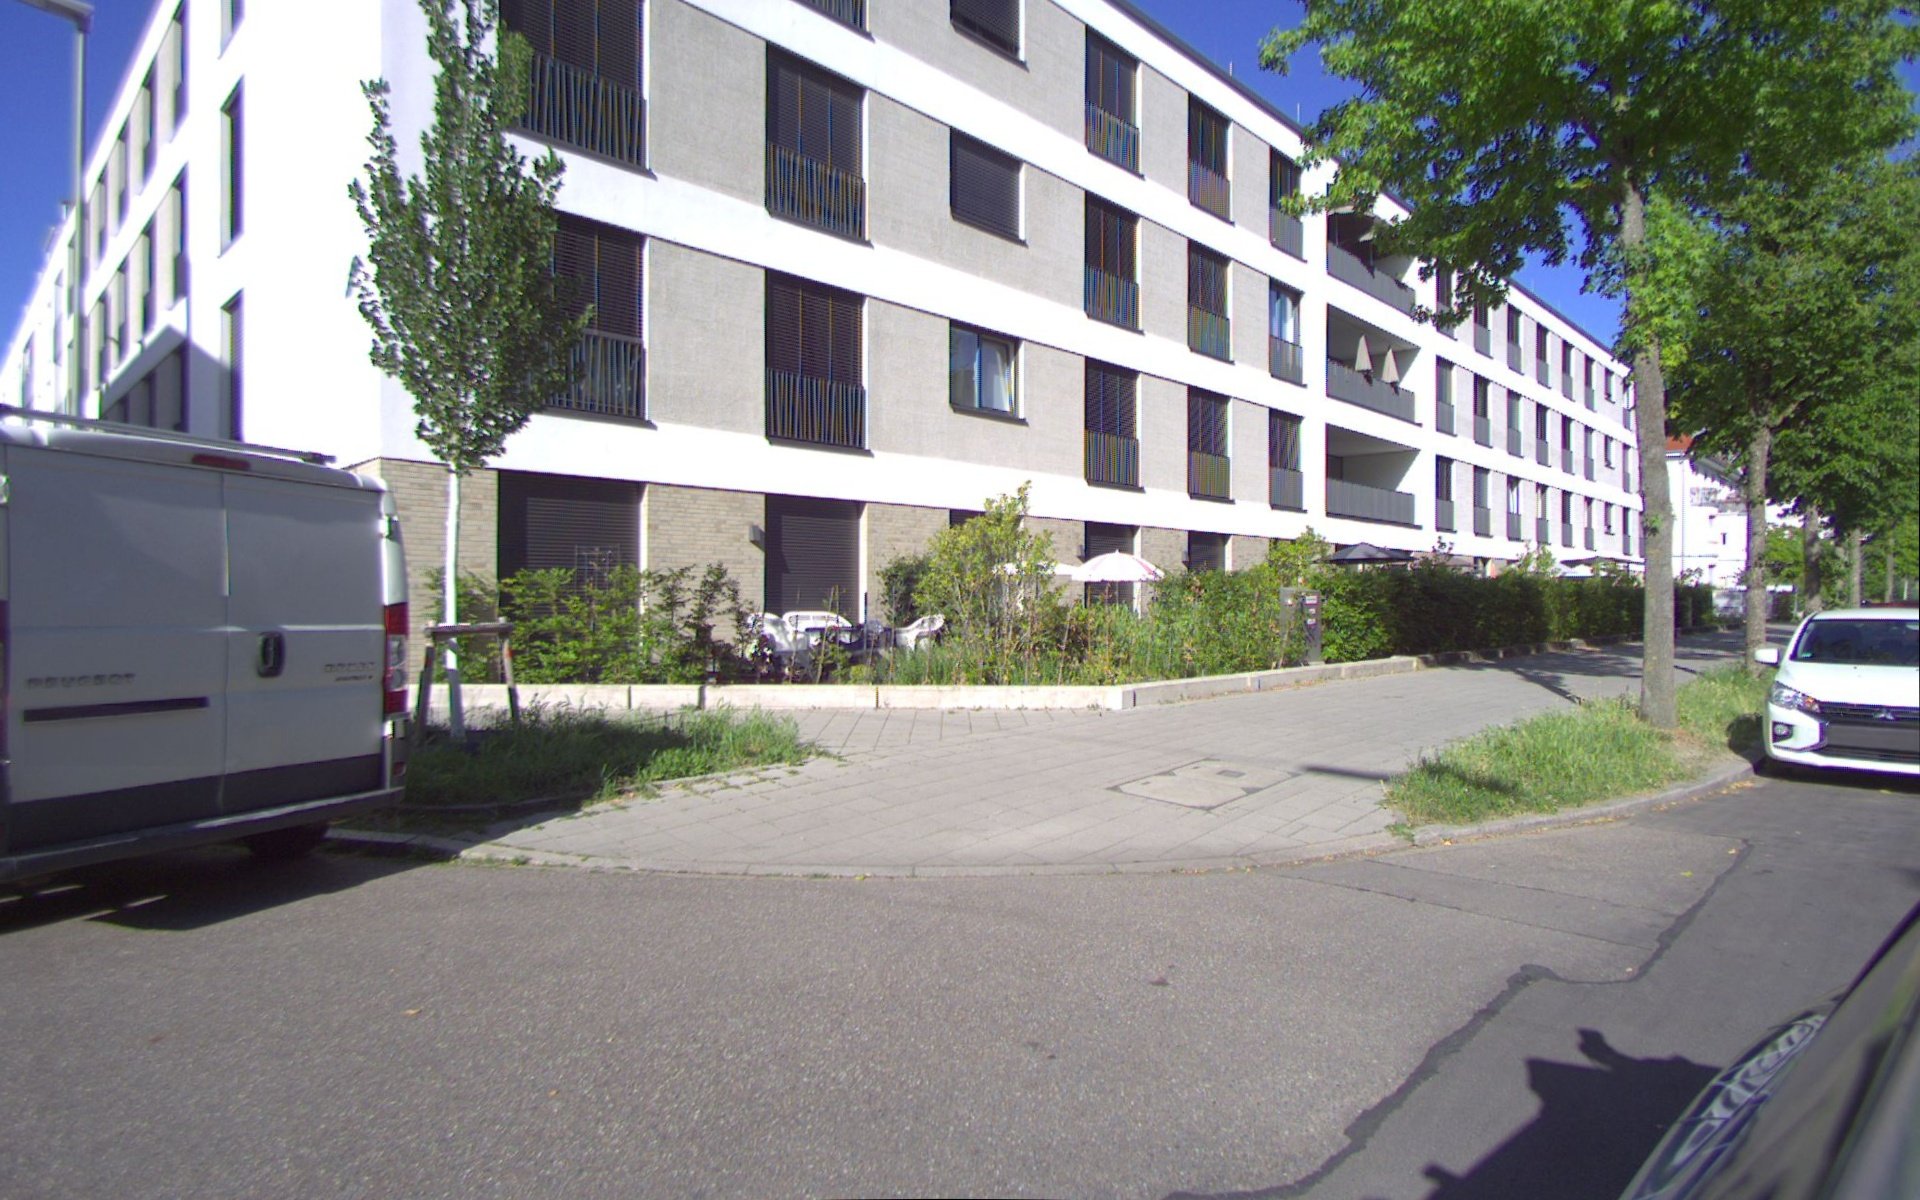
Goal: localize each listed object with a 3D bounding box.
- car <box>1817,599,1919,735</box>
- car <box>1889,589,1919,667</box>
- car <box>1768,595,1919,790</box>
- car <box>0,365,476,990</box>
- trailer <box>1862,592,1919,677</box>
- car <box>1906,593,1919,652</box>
[{"bbox_3d":[11.924,0.735,12.584,1.669,1.469,4.113,-3,-1,44],"label":"car"},{"bbox_3d":[22.470,0.569,23.003,1.792,1.664,4.742,-3,-1,44],"label":"car"},{"bbox_3d":[8.783,0.714,9.366,1.732,1.506,3.947,0,0,43],"label":"car"},{"bbox_3d":[-5.491,0.255,5.748,4.998,2.335,2.218,1,0,23],"label":"car"},{"bbox_3d":[19.058,0.633,19.942,3.138,1.599,1.576,0,-2,-43],"label":"trailer"},{"bbox_3d":[26.803,0.577,27.262,4.273,1.536,1.719,0,0,-44],"label":"car"}]
